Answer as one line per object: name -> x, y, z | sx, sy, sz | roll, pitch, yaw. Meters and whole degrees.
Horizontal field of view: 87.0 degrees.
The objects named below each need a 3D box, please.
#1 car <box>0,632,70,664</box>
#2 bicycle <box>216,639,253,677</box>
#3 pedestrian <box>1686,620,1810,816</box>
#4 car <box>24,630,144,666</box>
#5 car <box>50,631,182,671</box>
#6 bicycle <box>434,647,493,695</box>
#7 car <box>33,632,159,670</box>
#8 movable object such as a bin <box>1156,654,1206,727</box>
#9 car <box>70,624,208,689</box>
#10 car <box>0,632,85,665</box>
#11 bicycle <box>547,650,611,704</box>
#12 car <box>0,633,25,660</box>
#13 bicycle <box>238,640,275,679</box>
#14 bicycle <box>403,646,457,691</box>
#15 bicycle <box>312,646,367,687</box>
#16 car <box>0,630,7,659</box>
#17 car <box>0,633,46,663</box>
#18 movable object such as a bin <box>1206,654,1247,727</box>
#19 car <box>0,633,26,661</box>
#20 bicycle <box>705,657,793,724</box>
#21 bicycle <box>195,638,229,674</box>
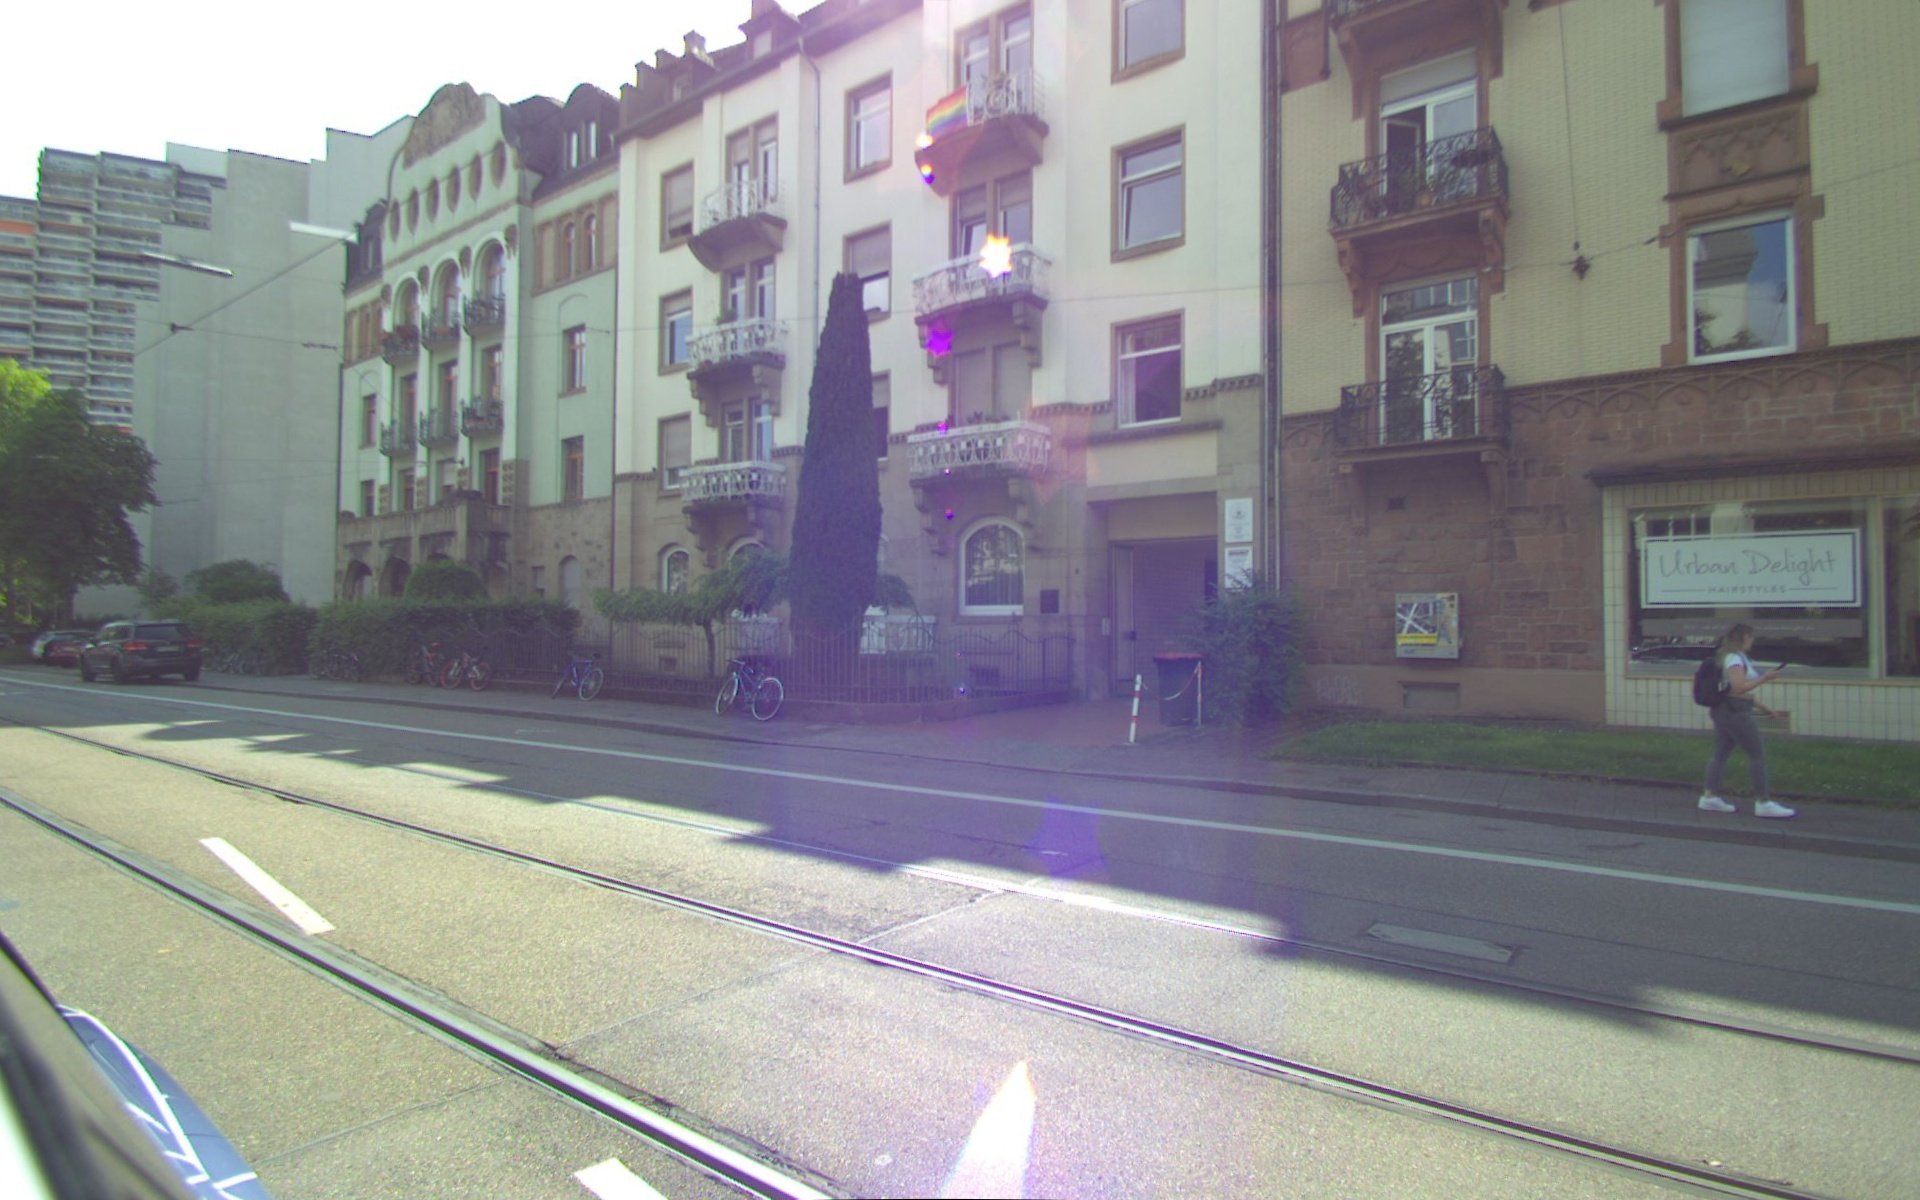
car -> -46.835, 2.374, 50.217 | 3.938, 1.519, 2.002 | 2, -3, -42
bicycle -> -22.884, 1.821, 31.912 | 1.785, 1.144, 0.462 | -2, -3, 40
pedestrian -> 6.666, 0.957, 8.579 | 0.764, 1.553, 0.749 | -2, -3, 39
car -> -39.060, 2.108, 45.186 | 3.938, 1.519, 2.002 | 2, -3, -42
car -> -33.765, 2.033, 40.526 | 3.938, 1.519, 2.002 | 2, -3, -42
bicycle -> -11.093, 1.568, 22.591 | 1.785, 1.003, 0.462 | -2, -3, 40
car -> -36.451, 2.114, 42.776 | 3.938, 1.519, 2.002 | 2, -3, -42
movable object such as a bin -> 3.246, 1.318, 14.879 | 0.697, 1.037, 0.475 | 0, -2, 11
car -> -23.090, 1.538, 28.434 | 4.392, 1.708, 1.899 | -1, -2, 36
car -> -44.377, 2.299, 48.243 | 3.938, 1.519, 2.002 | 2, -3, -42
bicycle -> -7.503, 1.496, 19.899 | 0.461, 1.003, 1.788 | 2, -3, -45
car -> -54.407, 2.562, 55.941 | 3.938, 1.519, 2.002 | 2, -3, -42
bicycle -> -21.357, 1.804, 30.713 | 1.785, 1.144, 0.462 | -2, -3, 40
bicycle -> -12.510, 1.602, 23.852 | 1.785, 1.003, 0.462 | -2, -3, 40
bicycle -> -15.987, 1.702, 26.059 | 1.979, 1.003, 0.597 | -2, -3, 40
car -> -57.309, 2.539, 57.884 | 3.938, 1.695, 2.002 | 2, -3, -42
car -> -49.520, 2.461, 51.863 | 3.938, 1.519, 2.002 | 2, -3, -42
movable object such as a bin -> 3.921, 1.317, 14.896 | 0.531, 1.037, 0.475 | 0, -2, 10
car -> -52.214, 2.489, 53.641 | 3.938, 1.519, 2.002 | 2, -3, -42
bicycle -> -3.498, 1.468, 16.680 | 0.461, 1.003, 1.980 | 2, -3, -43
bicycle -> -24.541, 1.816, 33.200 | 1.785, 1.144, 0.462 | -2, -3, 40
